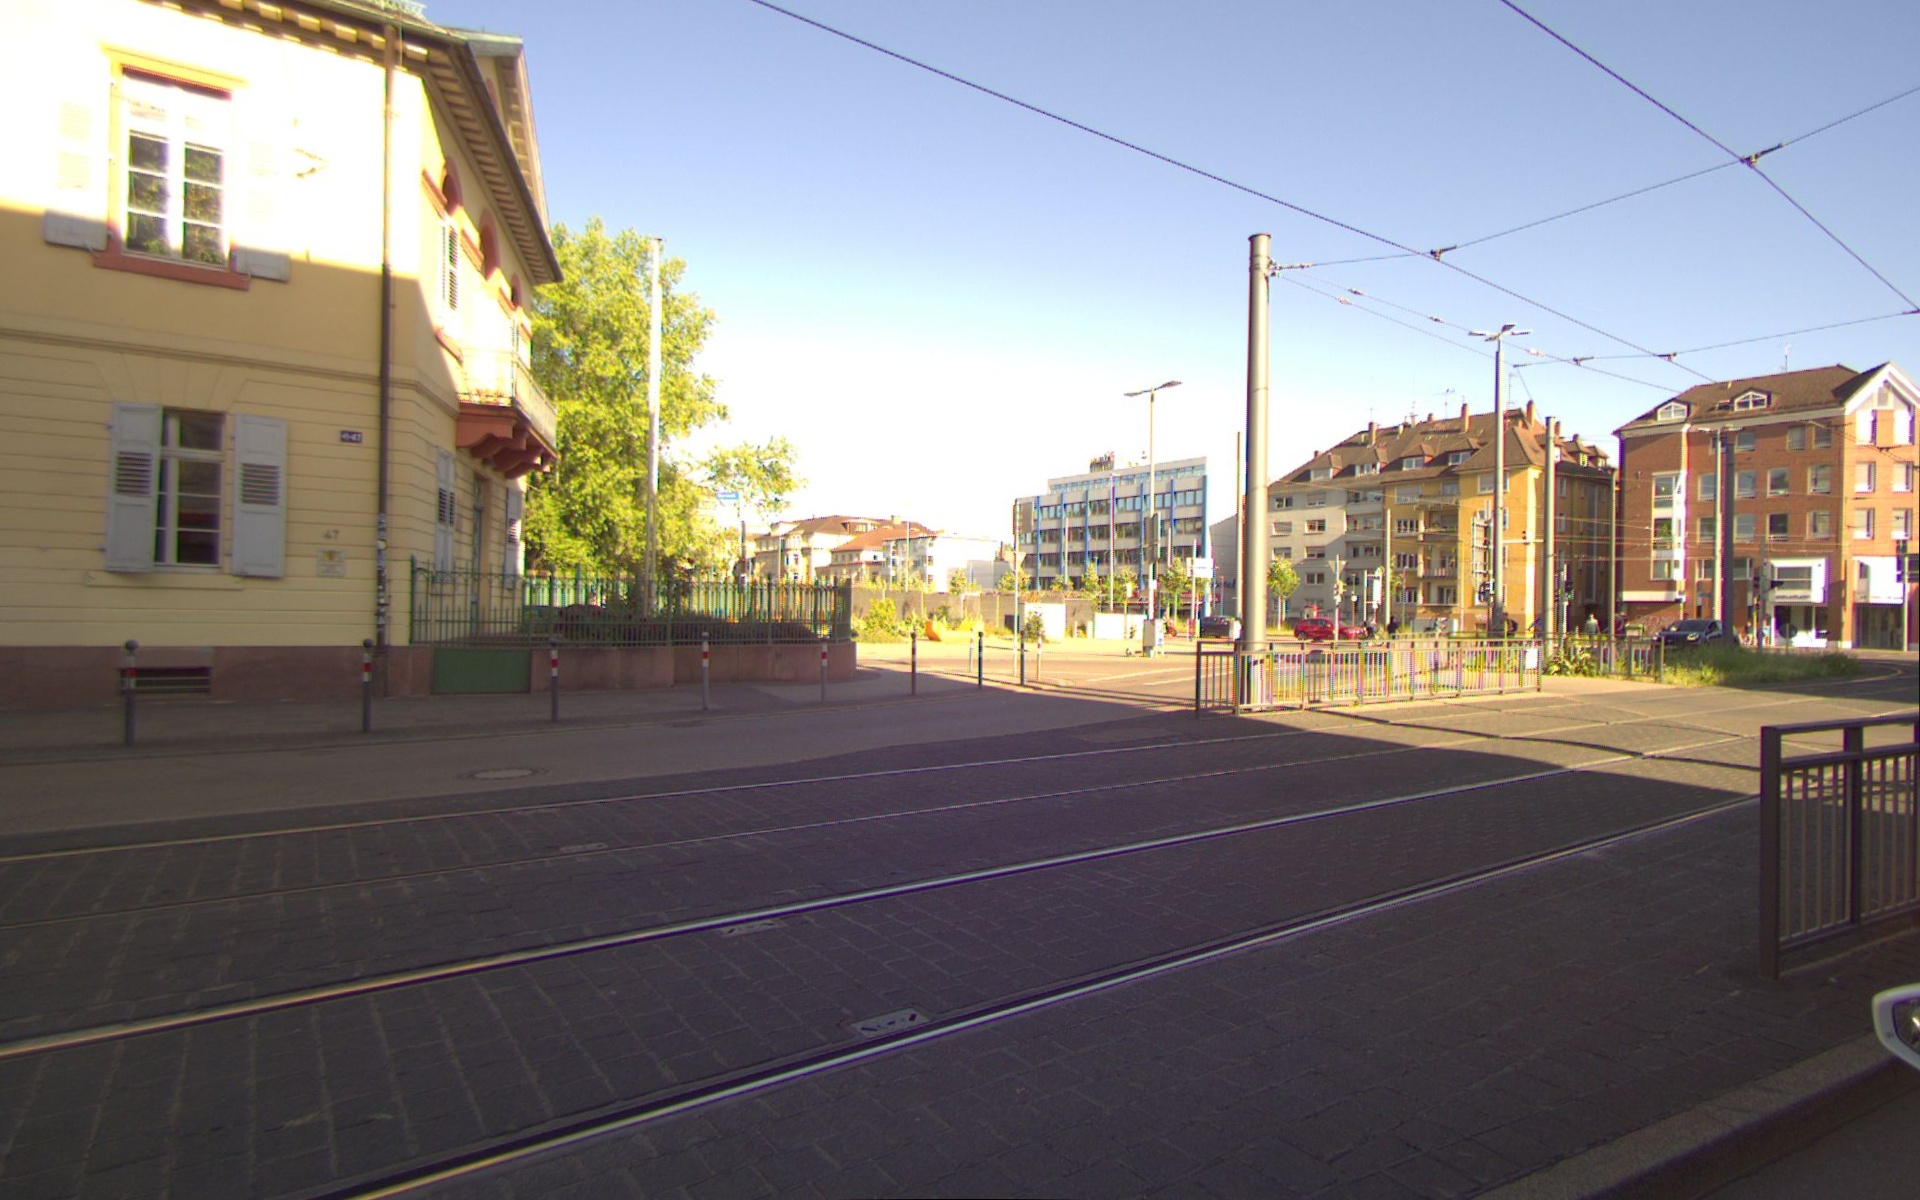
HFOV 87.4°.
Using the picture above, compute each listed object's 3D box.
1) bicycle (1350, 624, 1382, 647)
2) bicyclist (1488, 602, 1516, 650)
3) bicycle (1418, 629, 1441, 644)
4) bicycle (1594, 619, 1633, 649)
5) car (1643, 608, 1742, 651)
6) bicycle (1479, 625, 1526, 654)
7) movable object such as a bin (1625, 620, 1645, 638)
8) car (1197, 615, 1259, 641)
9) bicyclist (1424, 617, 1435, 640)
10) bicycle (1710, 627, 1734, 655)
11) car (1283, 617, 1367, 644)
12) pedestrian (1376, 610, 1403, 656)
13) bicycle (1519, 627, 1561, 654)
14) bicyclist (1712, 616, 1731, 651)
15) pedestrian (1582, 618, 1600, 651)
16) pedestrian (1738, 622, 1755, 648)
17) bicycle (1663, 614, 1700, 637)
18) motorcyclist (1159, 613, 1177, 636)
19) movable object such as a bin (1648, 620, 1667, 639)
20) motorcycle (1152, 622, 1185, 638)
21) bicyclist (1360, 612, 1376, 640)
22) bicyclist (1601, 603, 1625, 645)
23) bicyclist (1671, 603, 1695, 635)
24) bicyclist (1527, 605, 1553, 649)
[{"bbox_3d":[22.135,1.929,54.736,0.608,1.148,1.481,2,0,-43],"label":"bicycle"},{"bbox_3d":[19.361,0.922,35.893,0.761,1.695,0.522,2,0,-28],"label":"bicyclist"},{"bbox_3d":[27.180,2.104,58.194,1.160,0.774,0.318,2,0,45],"label":"bicycle"},{"bbox_3d":[27.233,1.425,41.848,1.862,1.230,0.527,2,0,-29],"label":"bicycle"},{"bbox_3d":[28.976,1.177,39.699,4.074,1.581,1.676,2,0,-30],"label":"car"},{"bbox_3d":[19.413,1.417,35.931,1.873,1.027,0.527,2,0,-29],"label":"bicycle"},{"bbox_3d":[54.460,2.338,81.037,1.087,1.456,0.988,2,0,-39],"label":"movable object such as a bin"},{"bbox_3d":[17.358,1.806,65.171,1.560,1.491,3.673,2,0,-36],"label":"car"},{"bbox_3d":[27.200,1.646,58.217,0.453,1.333,0.397,2,0,44],"label":"bicyclist"},{"bbox_3d":[36.685,1.982,48.338,2.012,1.308,0.568,2,0,-43],"label":"bicycle"},{"bbox_3d":[21.765,1.805,59.998,1.768,1.529,4.513,1,-2,-39],"label":"car"},{"bbox_3d":[18.717,1.424,43.781,0.784,1.959,0.724,2,0,-9],"label":"pedestrian"},{"bbox_3d":[22.983,1.618,39.806,1.862,1.027,0.527,2,0,-29],"label":"bicycle"},{"bbox_3d":[36.595,1.597,48.267,0.801,1.671,0.582,2,0,-44],"label":"bicyclist"},{"bbox_3d":[33.321,1.801,53.070,0.700,1.711,0.619,-1,2,-42],"label":"pedestrian"},{"bbox_3d":[52.944,2.360,67.616,0.921,1.733,0.690,2,0,-36],"label":"pedestrian"},{"bbox_3d":[33.745,1.209,46.968,1.862,1.027,0.647,2,0,-29],"label":"bicycle"},{"bbox_3d":[14.446,1.722,69.726,0.775,1.544,0.914,2,0,-36],"label":"motorcyclist"},{"bbox_3d":[55.465,2.341,79.878,1.087,1.456,0.988,2,0,-39],"label":"movable object such as a bin"},{"bbox_3d":[14.451,2.077,69.717,0.784,0.997,2.342,2,0,-36],"label":"motorcycle"},{"bbox_3d":[22.211,1.432,54.671,0.605,1.513,0.608,2,0,-44],"label":"bicyclist"},{"bbox_3d":[27.184,1.004,41.801,0.761,1.695,0.518,2,0,-29],"label":"bicyclist"},{"bbox_3d":[33.827,0.895,46.987,0.722,1.473,0.660,2,0,-29],"label":"bicyclist"},{"bbox_3d":[22.984,1.067,39.795,0.761,1.695,0.518,2,0,-29],"label":"bicyclist"}]
